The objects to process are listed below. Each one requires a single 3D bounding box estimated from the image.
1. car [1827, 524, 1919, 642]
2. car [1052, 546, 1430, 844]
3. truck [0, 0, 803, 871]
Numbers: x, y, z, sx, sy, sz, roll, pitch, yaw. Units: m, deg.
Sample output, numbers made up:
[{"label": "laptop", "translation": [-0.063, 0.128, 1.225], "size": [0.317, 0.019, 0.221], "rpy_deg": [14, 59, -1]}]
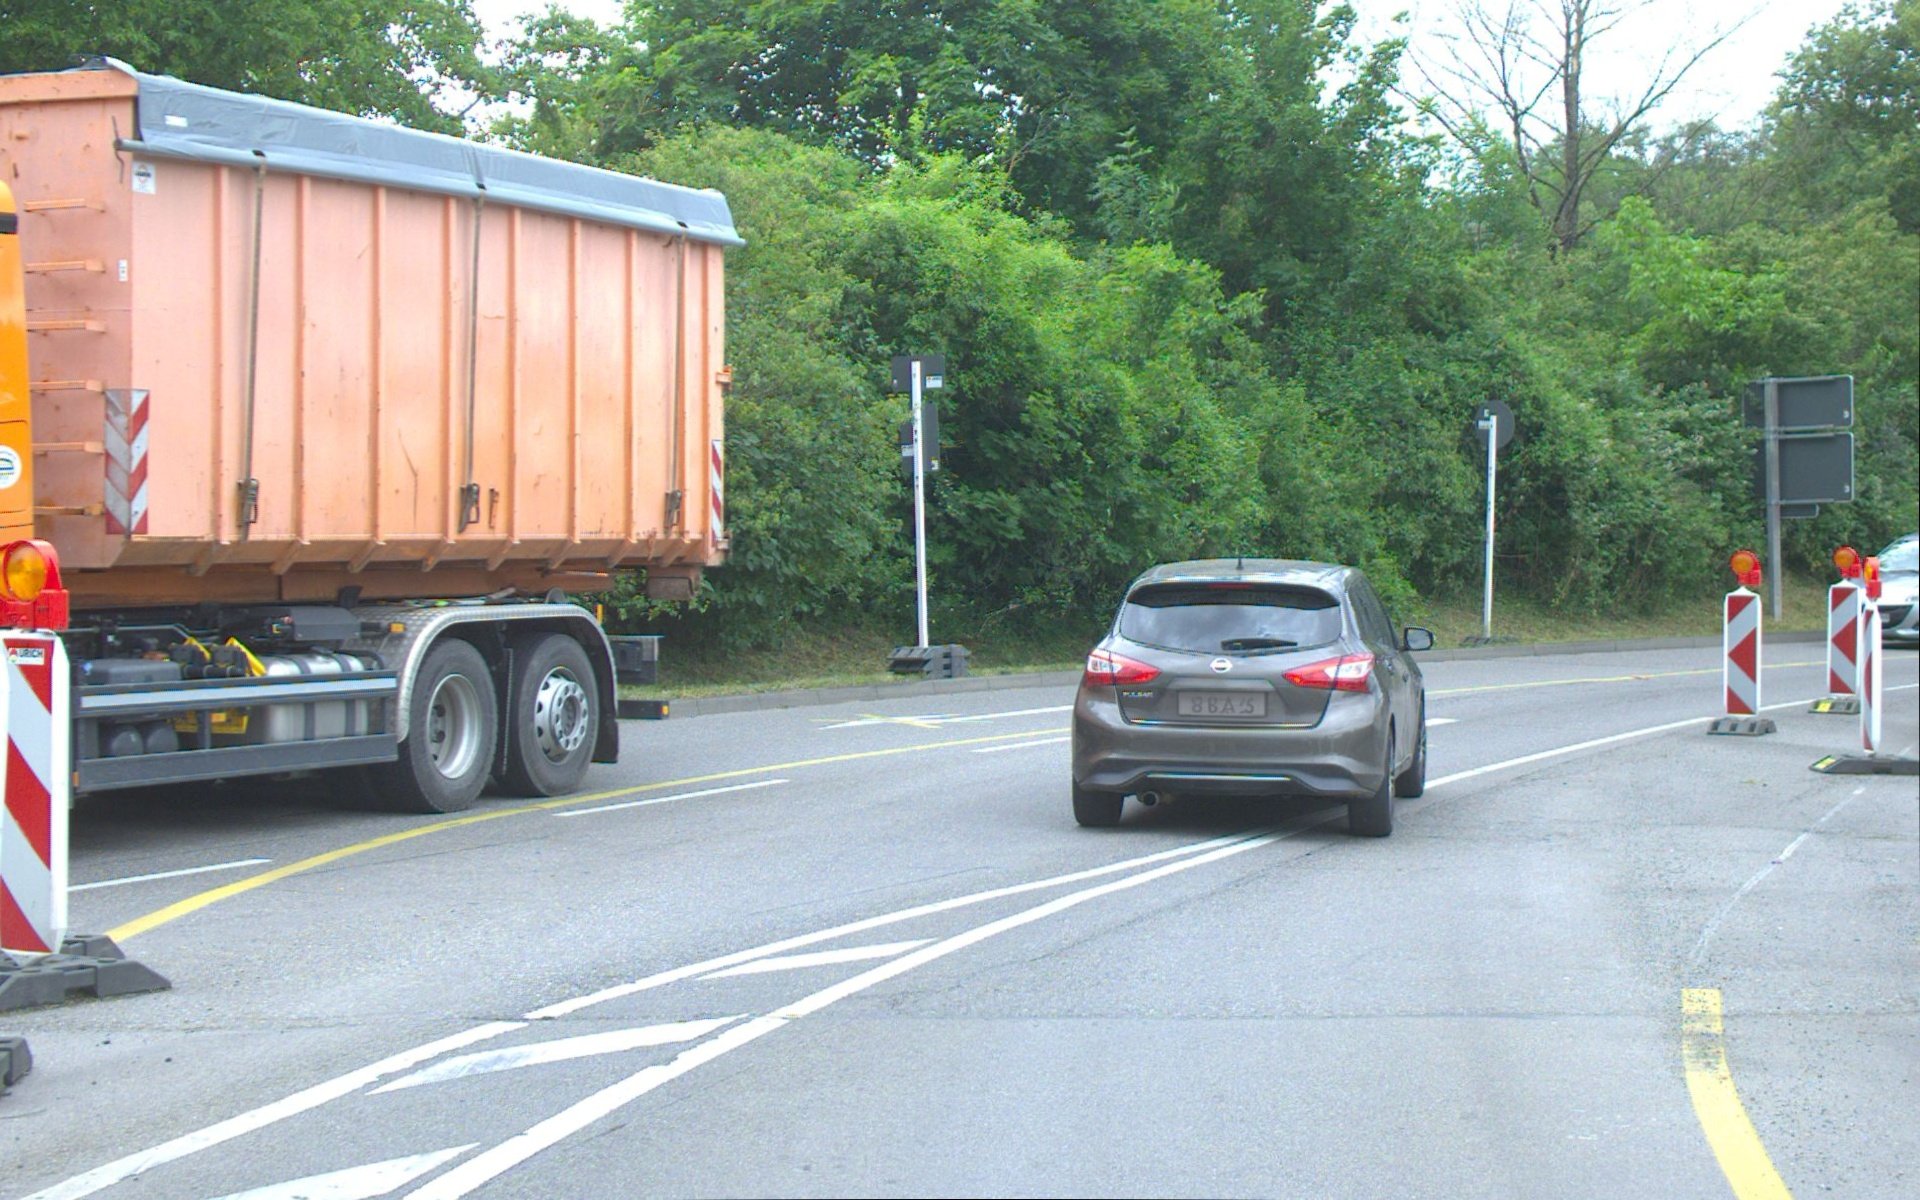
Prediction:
[{"label": "car", "translation": [13.572, -0.236, 47.061], "size": [1.636, 1.539, 4.341], "rpy_deg": [2, 1, 39]}, {"label": "car", "translation": [1.761, 0.480, 20.370], "size": [1.798, 1.547, 3.998], "rpy_deg": [1, 1, 11]}, {"label": "truck", "translation": [-4.431, -0.951, 19.129], "size": [3.114, 4.206, 9.781], "rpy_deg": [0, 1, 24]}]
